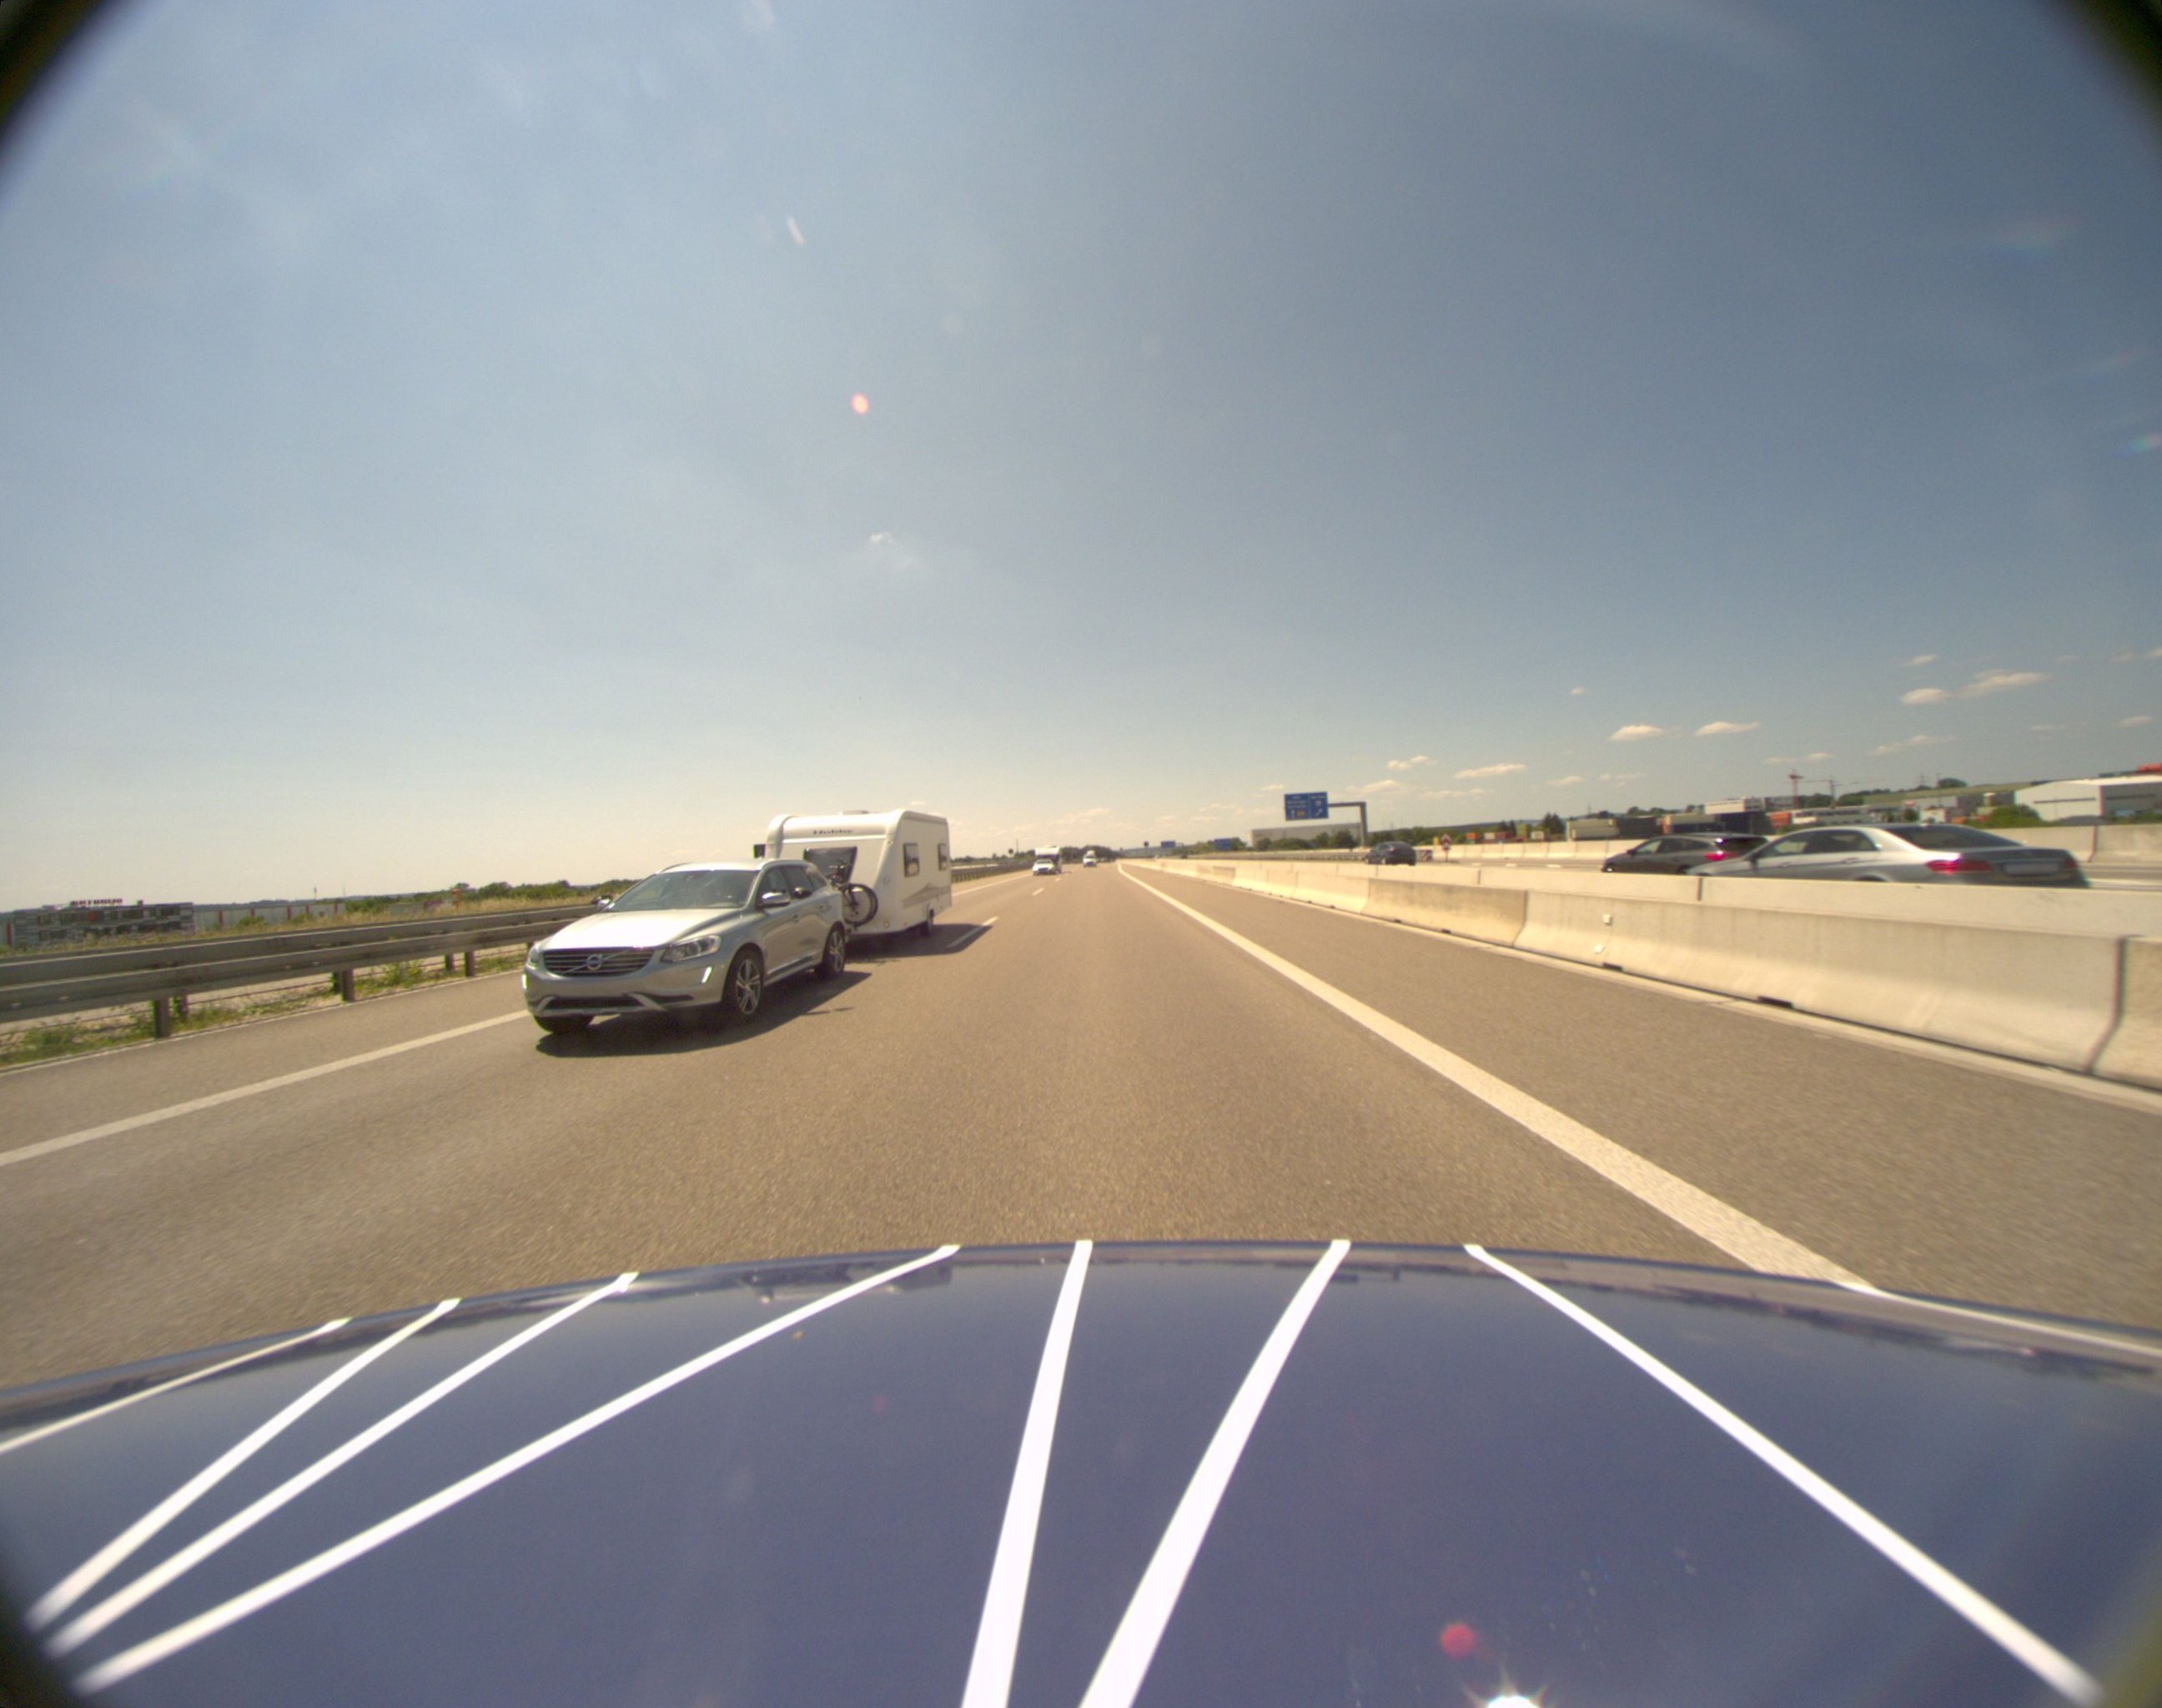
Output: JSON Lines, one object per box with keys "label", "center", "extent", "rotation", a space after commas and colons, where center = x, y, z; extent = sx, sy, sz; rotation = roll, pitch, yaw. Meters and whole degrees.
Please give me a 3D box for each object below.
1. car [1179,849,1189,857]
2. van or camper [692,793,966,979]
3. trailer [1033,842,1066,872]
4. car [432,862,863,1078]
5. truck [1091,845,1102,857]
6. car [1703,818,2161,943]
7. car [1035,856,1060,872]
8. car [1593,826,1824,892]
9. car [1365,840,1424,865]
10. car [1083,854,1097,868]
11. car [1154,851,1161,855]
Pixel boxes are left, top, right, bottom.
{"label": "car", "center": [22.516, -0.244, 166.277], "extent": [1.737, 1.527, 4.549], "rotation": [-3, 0, 1]}
{"label": "van or camper", "center": [-4.234, 0.480, 14.883], "extent": [2.518, 2.577, 7.818], "rotation": [-2, 0, 1]}
{"label": "trailer", "center": [-2.987, 0.301, 73.815], "extent": [2.500, 2.686, 7.156], "rotation": [-2, 0, 3]}
{"label": "car", "center": [-4.178, 0.958, 8.537], "extent": [1.885, 1.613, 4.904], "rotation": [-2, 0, 1]}
{"label": "truck", "center": [3.769, -0.802, 187.650], "extent": [2.167, 2.797, 6.492], "rotation": [-2, 0, 5]}
{"label": "car", "center": [12.026, 0.303, 11.312], "extent": [1.847, 1.412, 4.525], "rotation": [-2, 0, 1]}
{"label": "car", "center": [-2.956, 0.917, 68.403], "extent": [1.872, 1.352, 3.673], "rotation": [-1, 0, 3]}
{"label": "car", "center": [15.745, 0.103, 19.521], "extent": [1.917, 1.412, 4.908], "rotation": [-2, 0, 1]}
{"label": "car", "center": [19.903, -0.111, 48.517], "extent": [1.915, 1.412, 4.550], "rotation": [-3, 0, 1]}
{"label": "car", "center": [1.393, 1.064, 112.975], "extent": [1.998, 2.002, 4.000], "rotation": [-2, 0, 1]}
{"label": "car", "center": [24.532, -0.308, 242.858], "extent": [1.814, 1.427, 4.442], "rotation": [-3, 0, 1]}
